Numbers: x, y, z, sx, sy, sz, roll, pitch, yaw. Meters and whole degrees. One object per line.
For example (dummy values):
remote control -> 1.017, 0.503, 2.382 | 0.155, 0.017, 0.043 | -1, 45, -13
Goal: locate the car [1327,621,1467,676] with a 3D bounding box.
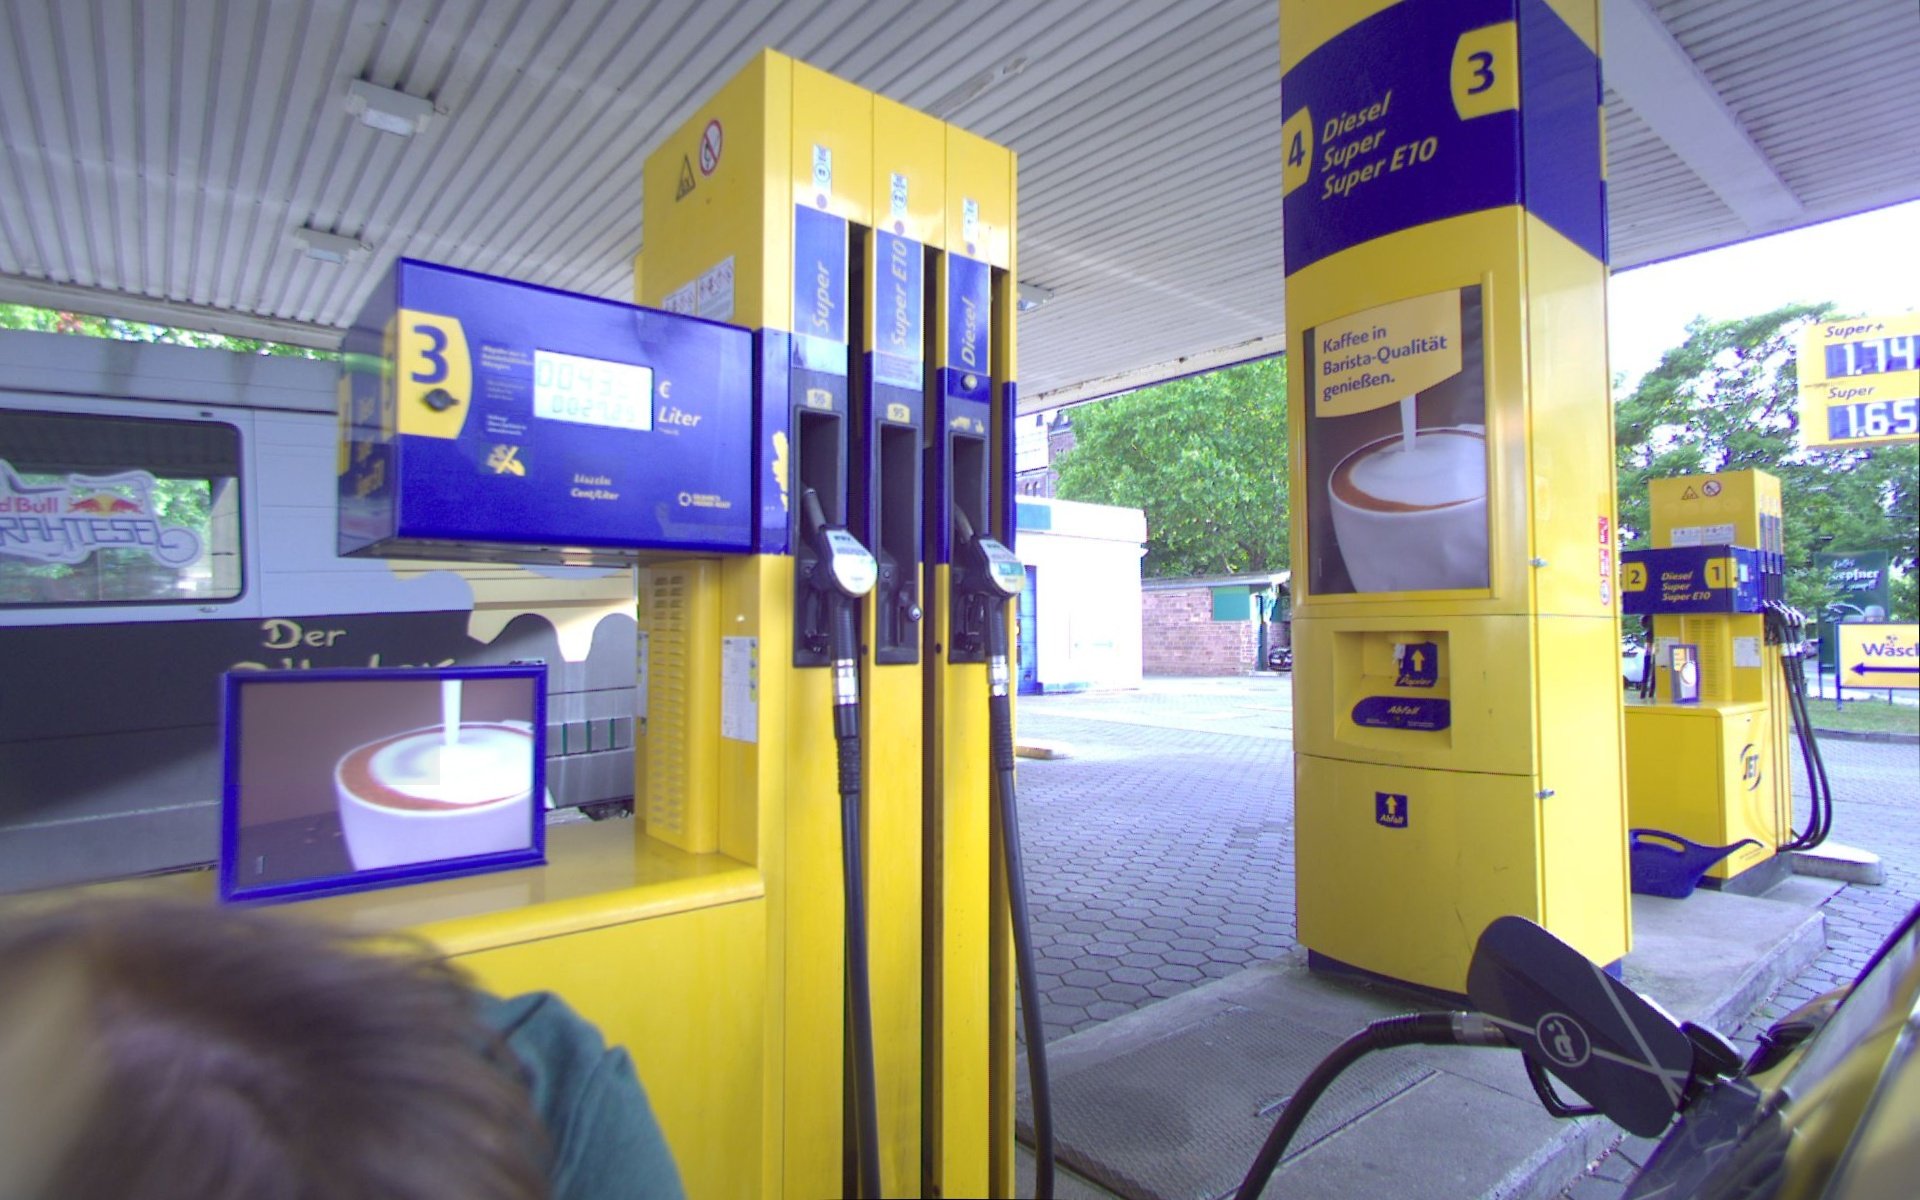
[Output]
car -> 13.891, 1.524, 32.138 | 4.303, 1.622, 1.777 | 2, -1, -28

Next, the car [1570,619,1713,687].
car -> 18.360, 1.441, 27.204 | 4.308, 1.622, 1.774 | 4, -4, -35

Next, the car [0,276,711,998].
car -> -4.105, 0.157, 4.895 | 5.197, 2.726, 2.258 | 1, -2, -39

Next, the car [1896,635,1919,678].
car -> 33.731, 1.916, 34.497 | 1.673, 1.452, 3.395 | -2, -3, 26

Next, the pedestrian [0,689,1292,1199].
pedestrian -> -0.331, 0.747, 0.548 | 0.662, 1.298, 0.751 | 0, 0, -41

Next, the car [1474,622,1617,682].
car -> 17.850, 1.583, 30.803 | 4.303, 1.622, 1.776 | 4, -4, -28

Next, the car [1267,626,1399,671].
car -> 12.694, 1.646, 34.430 | 4.303, 1.393, 1.777 | 2, -1, -28
